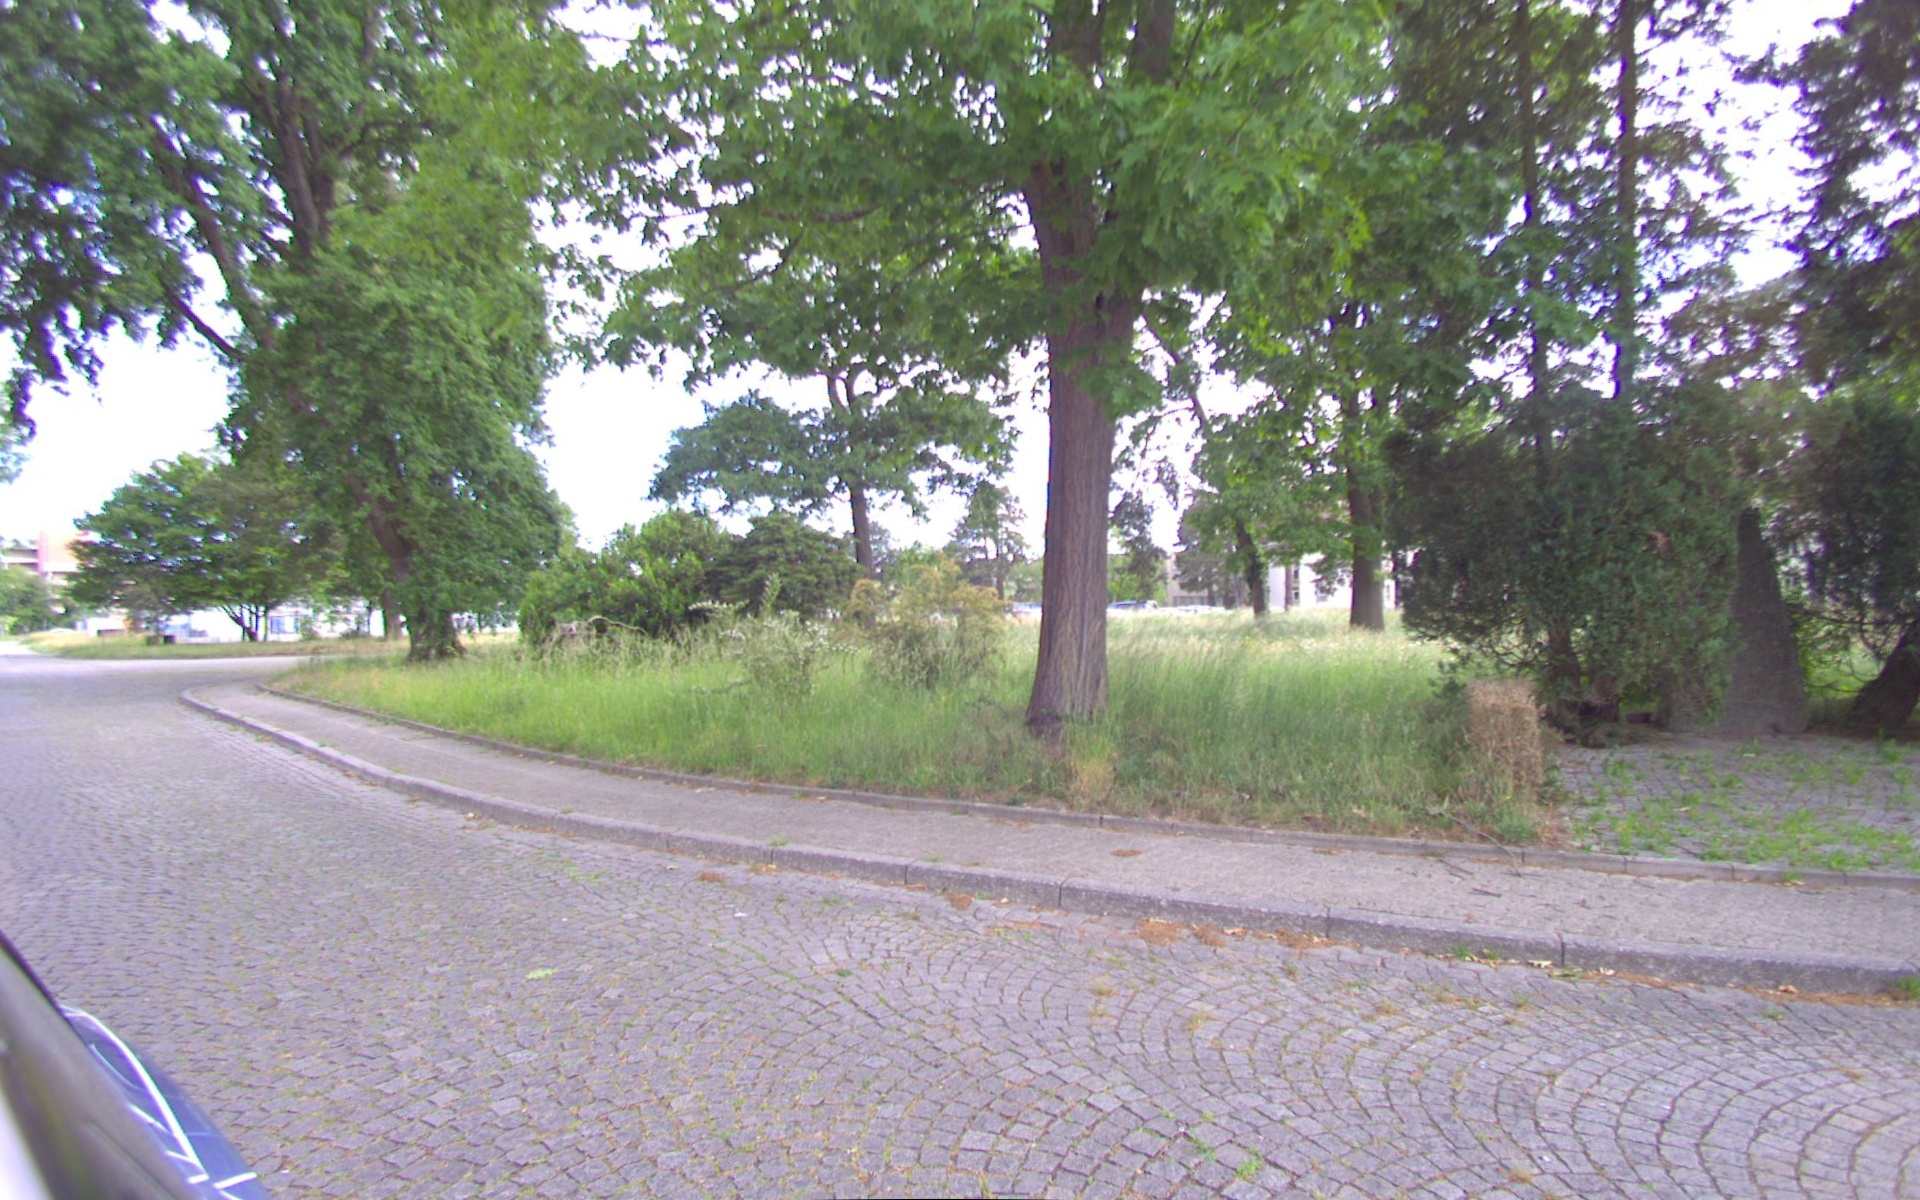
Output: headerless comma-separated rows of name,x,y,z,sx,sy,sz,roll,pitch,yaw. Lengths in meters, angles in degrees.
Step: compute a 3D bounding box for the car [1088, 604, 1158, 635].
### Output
car,11.204,1.341,69.929,4.547,1.916,1.767,-4,-3,45
